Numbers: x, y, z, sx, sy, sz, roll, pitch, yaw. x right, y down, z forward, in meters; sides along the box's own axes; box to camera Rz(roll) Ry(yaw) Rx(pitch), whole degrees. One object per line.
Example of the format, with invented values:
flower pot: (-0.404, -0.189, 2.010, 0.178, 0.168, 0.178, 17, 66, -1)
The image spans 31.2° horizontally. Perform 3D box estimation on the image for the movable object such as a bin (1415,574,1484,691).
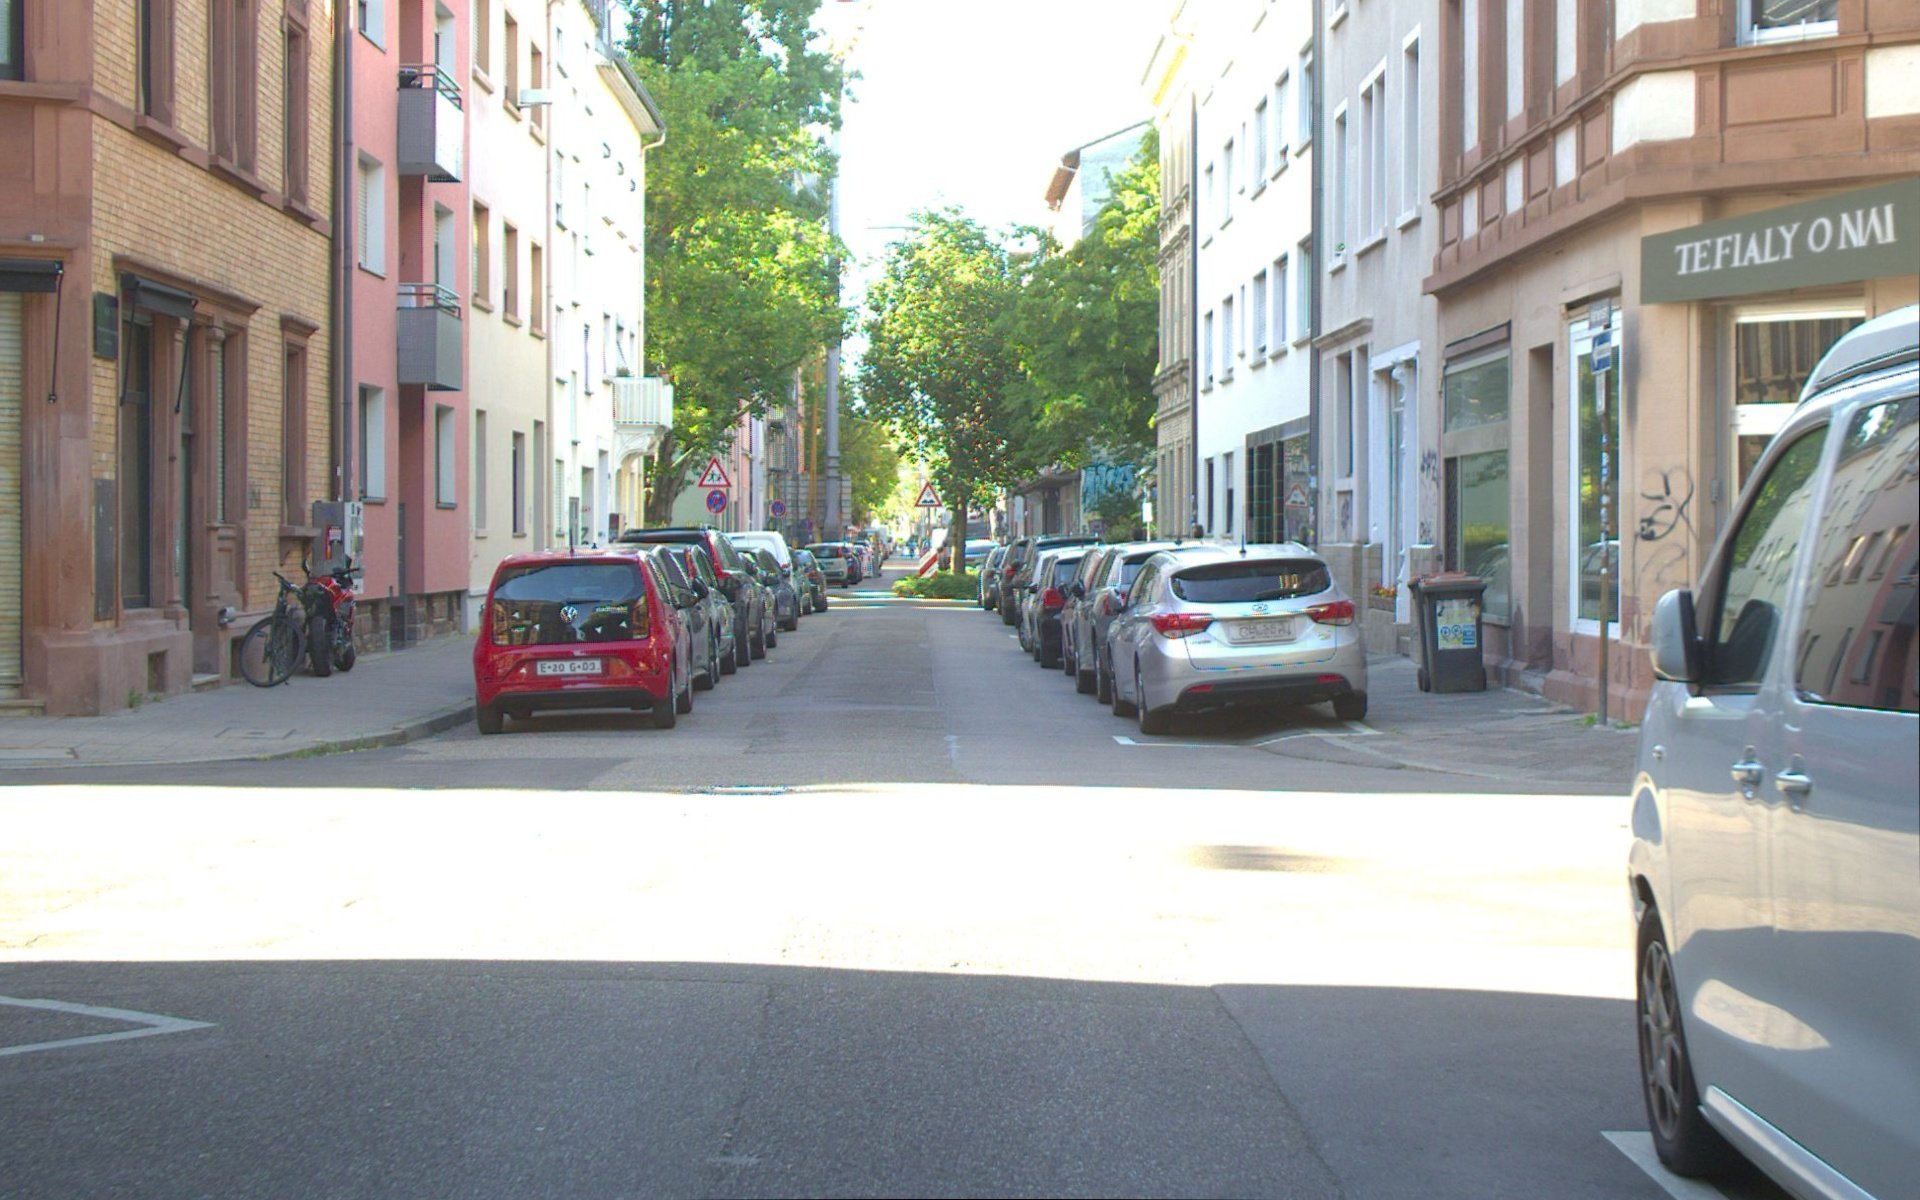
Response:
movable object such as a bin: (4.449, 0.292, 31.243, 0.514, 1.036, 0.619, -2, 1, 0)

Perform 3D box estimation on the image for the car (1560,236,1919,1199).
car: (2.480, 0.382, 6.473, 1.914, 1.991, 4.792, -2, 1, 1)

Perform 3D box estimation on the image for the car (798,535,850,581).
car: (-4.633, -1.438, 117.716, 1.675, 1.482, 4.095, -2, 1, -1)

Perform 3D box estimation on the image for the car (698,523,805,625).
car: (-3.816, -0.510, 63.430, 1.765, 1.779, 4.039, -2, 1, -1)

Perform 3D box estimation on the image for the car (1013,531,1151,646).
car: (1.689, -0.199, 48.766, 1.675, 1.501, 3.938, -2, 1, -1)

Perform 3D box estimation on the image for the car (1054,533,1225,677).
car: (2.000, 0.009, 39.277, 1.598, 1.501, 4.185, -2, 1, -1)

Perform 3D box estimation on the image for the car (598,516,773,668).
car: (-3.470, -0.150, 44.269, 1.743, 1.805, 4.672, -2, 1, 1)

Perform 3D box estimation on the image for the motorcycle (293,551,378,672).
motorcycle: (-6.407, 0.099, 35.341, 0.533, 1.201, 1.909, 0, 1, 0)

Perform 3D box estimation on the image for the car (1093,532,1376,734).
car: (2.211, 0.213, 28.793, 1.743, 1.501, 4.358, -2, 1, -3)

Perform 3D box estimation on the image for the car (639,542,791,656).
car: (-3.478, -0.050, 49.481, 1.743, 1.501, 4.346, -2, 1, 1)

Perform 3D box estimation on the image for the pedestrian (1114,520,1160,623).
pedestrian: (2.884, -0.473, 55.966, 0.685, 1.654, 0.717, -1, 1, -1)

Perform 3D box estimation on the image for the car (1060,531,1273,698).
car: (1.987, 0.097, 34.093, 1.744, 1.501, 4.021, -2, 1, -1)

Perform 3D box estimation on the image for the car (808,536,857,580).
car: (-4.546, -1.518, 122.923, 1.675, 1.482, 4.095, -2, 1, -1)

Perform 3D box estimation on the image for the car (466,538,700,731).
car: (-3.137, 0.241, 29.190, 1.628, 1.476, 3.601, -2, 1, -1)

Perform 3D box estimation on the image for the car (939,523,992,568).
car: (0.180, -1.901, 119.182, 1.675, 1.482, 3.638, -2, 1, -1)

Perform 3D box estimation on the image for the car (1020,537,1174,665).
car: (1.704, -0.024, 43.900, 1.675, 1.501, 3.938, -2, 1, -1)

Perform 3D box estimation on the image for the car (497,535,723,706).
car: (-3.389, 0.156, 33.953, 1.695, 1.516, 4.096, -2, 1, 1)

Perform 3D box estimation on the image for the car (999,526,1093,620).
car: (1.622, -0.515, 65.743, 1.676, 1.676, 4.094, -2, 0, 0)

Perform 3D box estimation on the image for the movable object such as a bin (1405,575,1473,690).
movable object such as a bin: (4.442, 0.294, 31.896, 0.514, 1.036, 0.594, -2, 1, 0)

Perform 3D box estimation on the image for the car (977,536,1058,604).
car: (1.307, -0.715, 79.998, 1.675, 1.482, 4.095, -2, 1, -1)

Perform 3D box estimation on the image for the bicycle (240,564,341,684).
bicycle: (-6.398, 0.215, 32.923, 0.533, 1.070, 1.891, 4, 1, 0)

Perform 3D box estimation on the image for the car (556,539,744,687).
car: (-3.443, 0.108, 38.776, 1.656, 1.516, 3.944, -2, 1, 1)

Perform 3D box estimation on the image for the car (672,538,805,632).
car: (-3.761, -0.276, 58.902, 1.674, 1.481, 3.991, -2, 1, 5)

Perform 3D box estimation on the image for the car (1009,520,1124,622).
car: (1.838, -0.535, 60.467, 1.676, 1.621, 4.251, -4, 1, -1)

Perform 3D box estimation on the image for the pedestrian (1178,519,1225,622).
pedestrian: (3.919, -0.484, 55.766, 0.685, 1.654, 0.717, -1, 1, -1)
